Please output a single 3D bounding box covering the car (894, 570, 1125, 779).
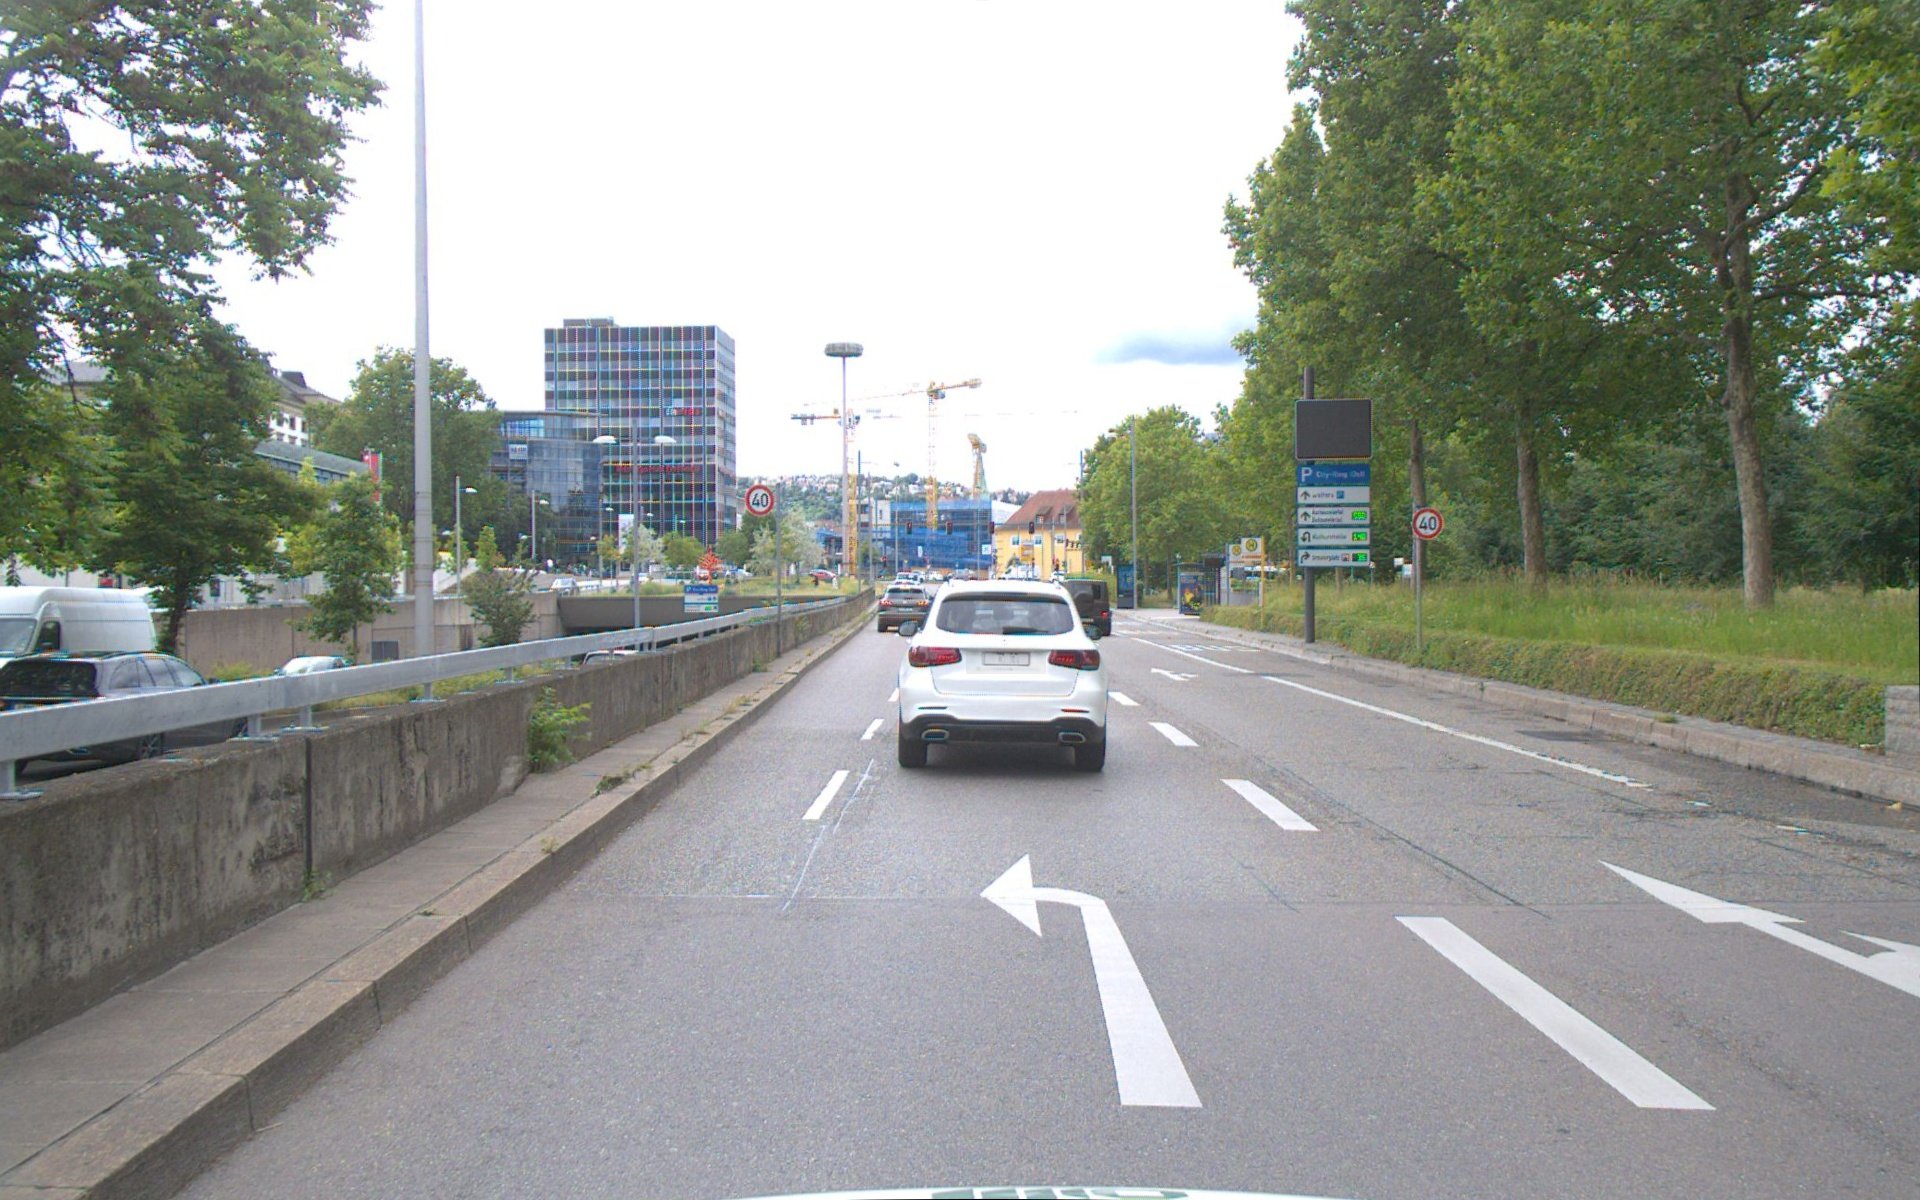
[{"bbox_3d":[0.377,0.635,15.681,1.901,1.713,3.999,0,-1,-1],"label":"car"}]

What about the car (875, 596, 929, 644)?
[{"bbox_3d":[-2.101,0.695,60.093,1.884,1.630,3.999,1,0,-2],"label":"car"}]

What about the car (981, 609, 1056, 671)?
[{"bbox_3d":[1.654,1.122,47.732,1.884,1.630,3.999,1,0,-2],"label":"car"}]

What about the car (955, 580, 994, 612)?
[{"bbox_3d":[0.793,-0.225,93.263,1.953,1.691,3.998,2,-1,-2],"label":"car"}]

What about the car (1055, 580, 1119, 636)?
[{"bbox_3d":[4.663,0.300,61.404,1.937,1.926,4.706,2,-1,0],"label":"car"}]

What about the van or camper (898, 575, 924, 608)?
[{"bbox_3d":[-3.681,-0.614,124.617,1.884,2.360,3.998,1,-2,-2],"label":"van or camper"}]

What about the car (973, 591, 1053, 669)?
[{"bbox_3d":[1.165,0.664,37.924,1.638,1.656,3.999,2,0,-1],"label":"car"}]

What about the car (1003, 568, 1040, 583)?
[{"bbox_3d":[8.869,-3.513,238.879,5.187,2.096,1.865,1,-1,38],"label":"car"}]

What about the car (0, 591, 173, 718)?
[{"bbox_3d":[-17.570,0.960,31.827,1.935,2.203,6.210,1,-1,-1],"label":"car"}]

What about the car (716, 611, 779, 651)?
[{"bbox_3d":[-7.692,1.099,60.237,1.684,1.315,4.000,2,0,1],"label":"car"}]

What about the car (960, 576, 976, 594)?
[{"bbox_3d":[0.968,-1.813,197.484,1.764,2.049,3.998,2,-1,-2],"label":"car"}]

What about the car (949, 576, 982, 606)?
[{"bbox_3d":[0.337,-0.540,105.707,1.953,1.812,3.998,2,-1,-2],"label":"car"}]

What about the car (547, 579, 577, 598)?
[{"bbox_3d":[-31.492,-0.892,130.956,1.797,1.384,3.863,2,-1,-7],"label":"car"}]

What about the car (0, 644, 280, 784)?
[{"bbox_3d":[-10.642,1.363,21.268,1.775,1.486,4.862,1,-1,0],"label":"car"}]

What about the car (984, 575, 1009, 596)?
[{"bbox_3d":[2.918,-1.122,132.479,1.685,1.612,3.998,2,0,-3],"label":"car"}]

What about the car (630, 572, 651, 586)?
[{"bbox_3d":[-35.888,-2.352,185.637,1.773,1.452,3.705,2,-1,-3],"label":"car"}]

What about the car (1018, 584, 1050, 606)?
[{"bbox_3d":[5.924,-0.402,132.353,1.955,1.646,3.995,2,-1,-6],"label":"car"}]

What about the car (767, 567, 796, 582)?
[{"bbox_3d":[-26.480,-3.712,245.353,3.926,2.049,1.989,2,-1,-19],"label":"car"}]

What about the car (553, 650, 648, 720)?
[{"bbox_3d":[-8.719,2.034,40.353,1.594,1.535,3.538,1,-1,-1],"label":"car"}]
